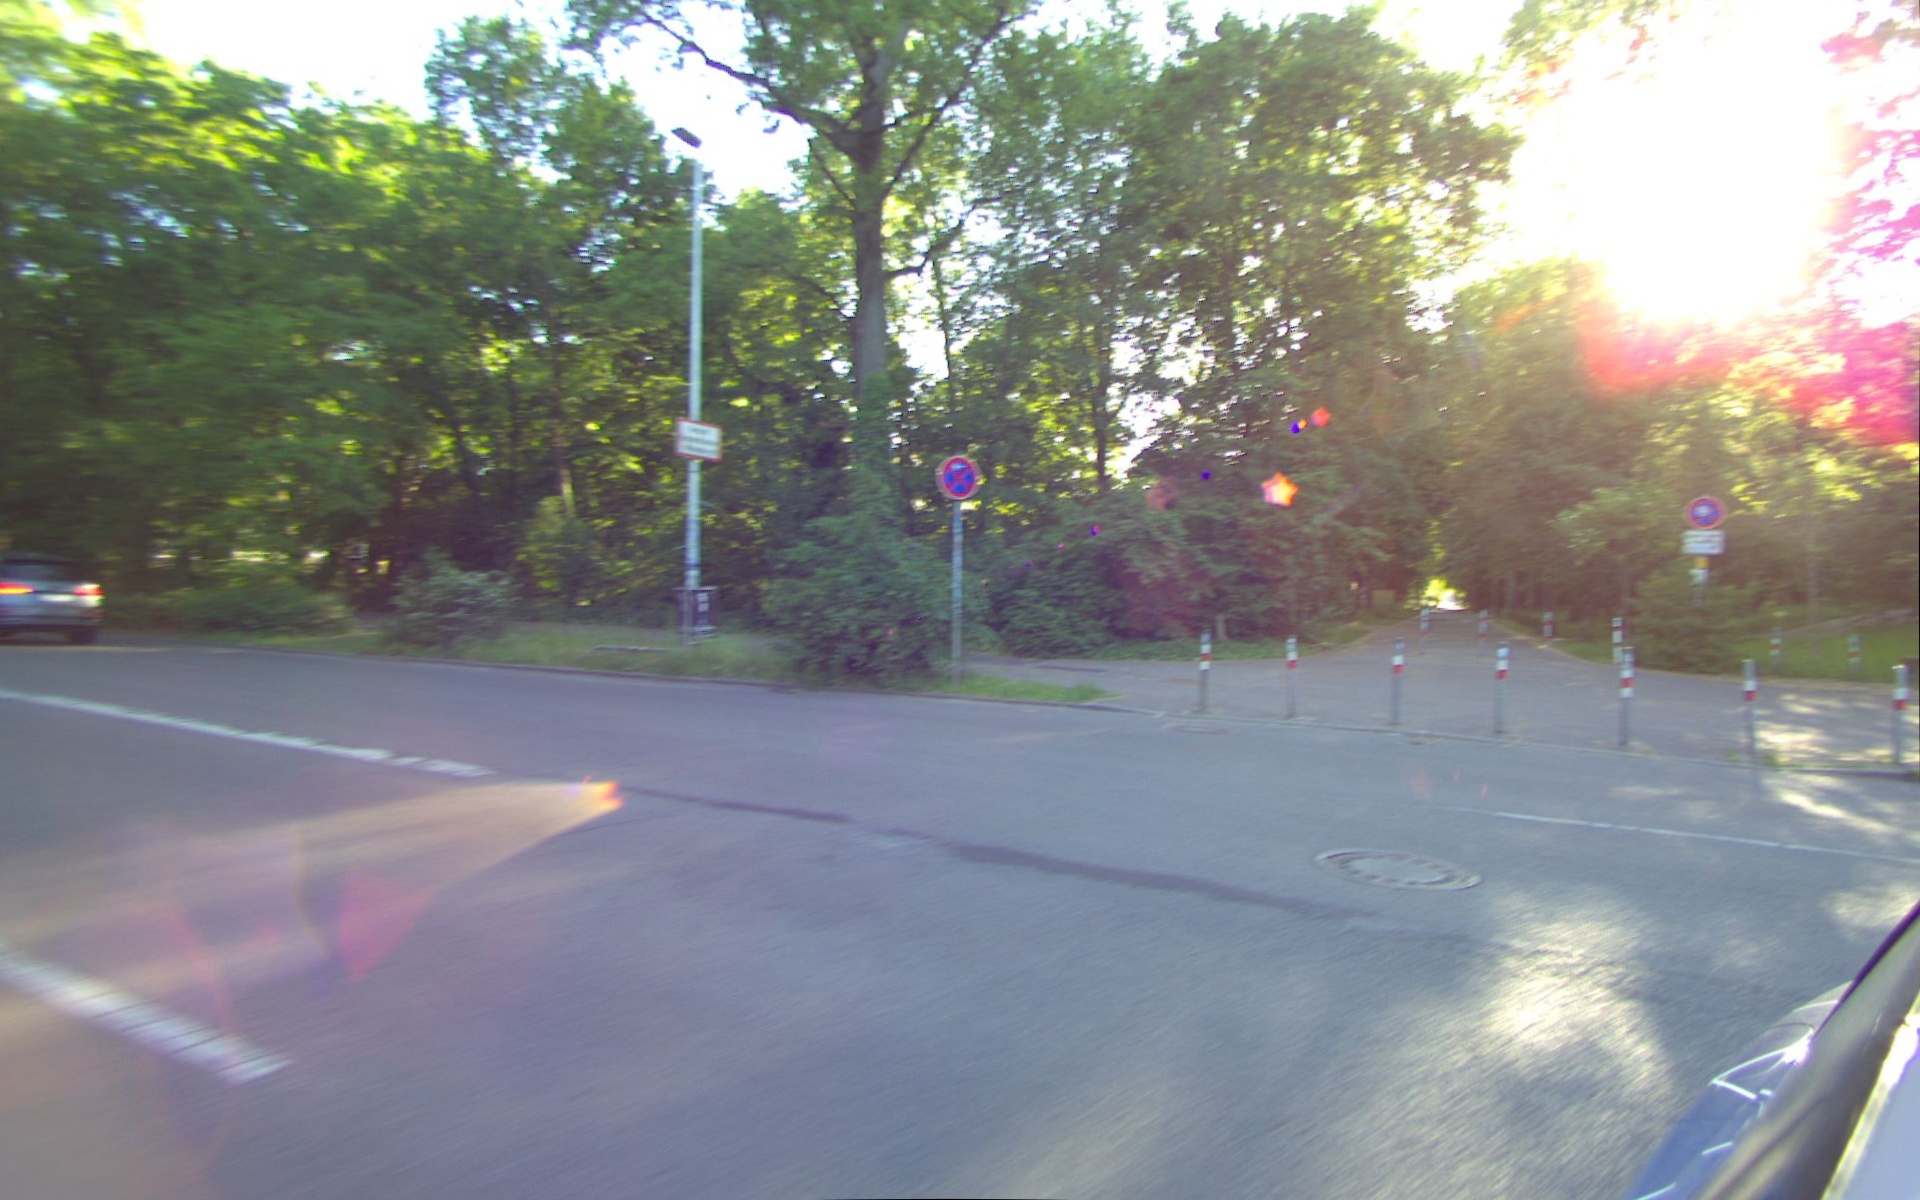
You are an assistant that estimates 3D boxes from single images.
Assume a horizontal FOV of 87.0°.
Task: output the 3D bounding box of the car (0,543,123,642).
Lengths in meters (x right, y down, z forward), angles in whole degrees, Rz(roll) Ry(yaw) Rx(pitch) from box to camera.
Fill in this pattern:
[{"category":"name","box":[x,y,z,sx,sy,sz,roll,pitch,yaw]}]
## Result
[{"category":"car","box":[-17.679,-0.183,18.565,4.321,1.627,1.975,3,-2,27]}]
